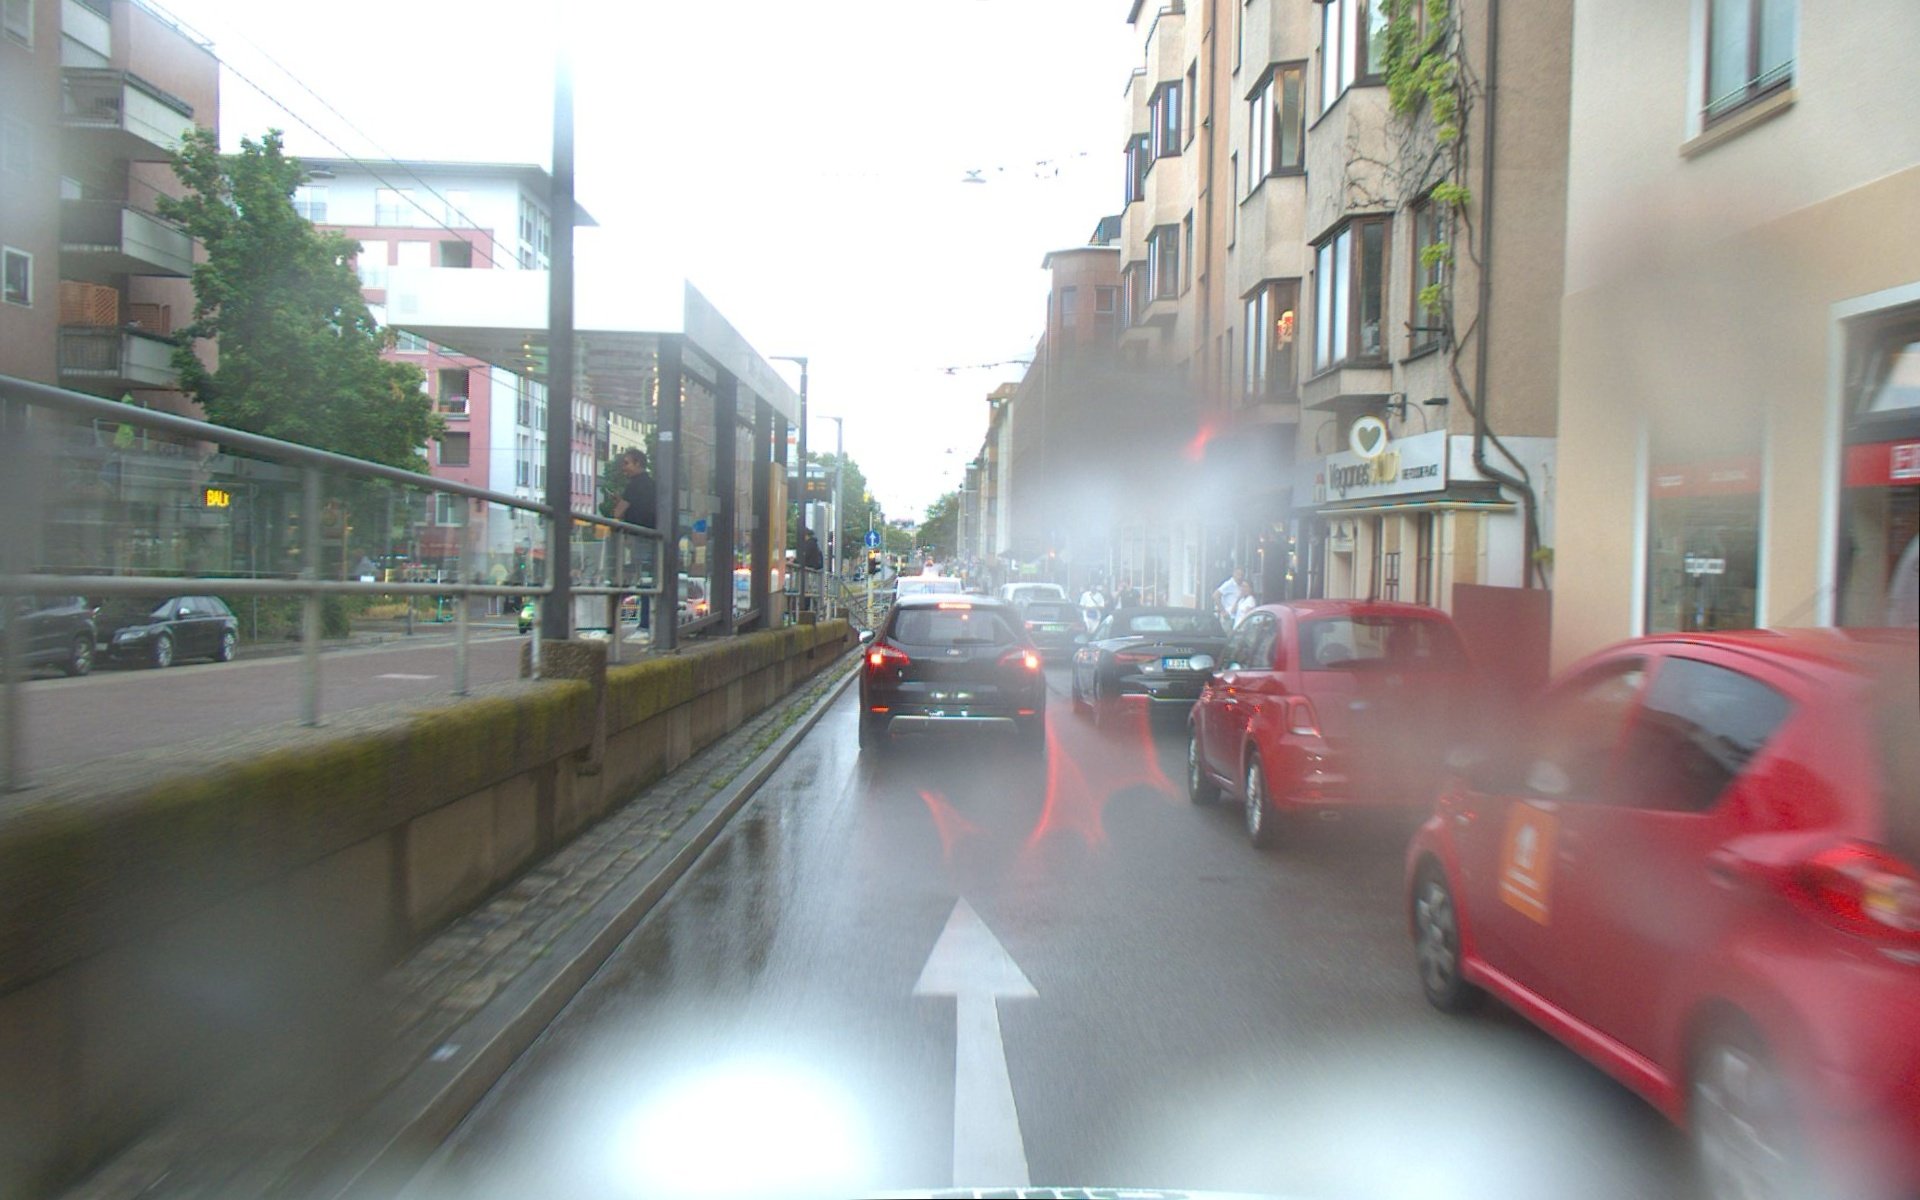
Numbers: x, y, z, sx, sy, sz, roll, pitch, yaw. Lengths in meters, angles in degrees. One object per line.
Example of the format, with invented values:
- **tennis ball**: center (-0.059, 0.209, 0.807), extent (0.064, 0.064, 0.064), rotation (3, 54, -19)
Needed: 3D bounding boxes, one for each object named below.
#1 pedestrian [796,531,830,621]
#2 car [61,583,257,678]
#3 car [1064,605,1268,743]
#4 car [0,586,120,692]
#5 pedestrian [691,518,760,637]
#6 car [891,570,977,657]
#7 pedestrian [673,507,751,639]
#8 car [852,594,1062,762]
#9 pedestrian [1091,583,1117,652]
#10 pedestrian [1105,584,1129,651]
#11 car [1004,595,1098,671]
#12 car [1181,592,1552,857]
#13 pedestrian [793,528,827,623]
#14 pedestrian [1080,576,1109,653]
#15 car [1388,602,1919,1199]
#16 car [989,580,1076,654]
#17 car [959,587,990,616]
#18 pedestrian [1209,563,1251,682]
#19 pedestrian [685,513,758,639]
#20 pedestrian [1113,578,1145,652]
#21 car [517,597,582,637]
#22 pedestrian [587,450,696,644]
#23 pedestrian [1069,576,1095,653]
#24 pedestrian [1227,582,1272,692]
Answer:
- **pedestrian**: center (-2.620, -0.424, 29.443), extent (0.572, 1.585, 0.700), rotation (0, 0, -3)
- **car**: center (-15.019, 0.535, 31.276), extent (1.605, 1.652, 4.370), rotation (0, 0, -1)
- **car**: center (2.409, 0.825, 20.382), extent (1.868, 1.488, 4.244), rotation (0, 0, -2)
- **car**: center (-14.959, 0.574, 25.708), extent (1.605, 1.563, 4.370), rotation (0, 0, -1)
- **pedestrian**: center (-2.655, -0.256, 18.757), extent (0.713, 1.325, 0.700), rotation (0, 0, -4)
- **car**: center (-0.597, 0.289, 38.441), extent (1.868, 1.897, 4.573), rotation (0, 0, -1)
- **pedestrian**: center (-2.536, -0.268, 16.979), extent (0.713, 1.325, 0.701), rotation (0, 0, -2)
- **car**: center (-0.042, 0.694, 16.500), extent (1.868, 1.488, 3.444), rotation (0, 0, -1)
- **pedestrian**: center (3.652, 0.438, 41.998), extent (0.598, 1.744, 0.581), rotation (0, 0, 0)
- **pedestrian**: center (4.121, 0.446, 43.400), extent (0.564, 1.744, 0.477), rotation (0, 0, 0)
- **car**: center (2.029, 0.708, 38.085), extent (1.868, 1.644, 4.413), rotation (0, 0, -1)
- **car**: center (2.527, 0.702, 11.060), extent (1.612, 1.488, 3.413), rotation (0, 0, -1)
- **pedestrian**: center (-2.600, -0.423, 28.736), extent (0.572, 1.637, 0.700), rotation (0, 0, -3)
- **pedestrian**: center (3.358, 0.361, 41.370), extent (0.681, 1.887, 0.652), rotation (0, 0, 0)
- **car**: center (2.632, 0.760, 5.147), extent (1.681, 1.488, 3.444), rotation (0, 0, -1)
- **car**: center (1.871, 0.422, 43.878), extent (1.868, 1.838, 4.774), rotation (0, 0, -3)
- **car**: center (0.816, 0.079, 92.682), extent (1.664, 1.505, 3.867), rotation (-2, 0, 0)
- **pedestrian**: center (4.353, 0.354, 26.664), extent (0.519, 1.891, 0.555), rotation (0, 0, -9)
- **pedestrian**: center (-2.551, -0.255, 17.768), extent (0.713, 1.325, 0.700), rotation (0, 0, -4)
- **pedestrian**: center (4.248, 0.371, 41.513), extent (0.740, 1.851, 0.588), rotation (0, 0, 0)
- **car**: center (-14.595, 0.593, 58.938), extent (1.606, 1.361, 3.733), rotation (0, 0, -4)
- **pedestrian**: center (-2.934, -0.478, 15.285), extent (0.898, 1.754, 0.700), rotation (0, 0, -4)
- **pedestrian**: center (3.167, 0.365, 43.013), extent (0.638, 1.982, 0.533), rotation (0, 0, 0)
- **pedestrian**: center (4.543, 0.572, 25.984), extent (0.534, 1.710, 0.595), rotation (0, 0, -9)
